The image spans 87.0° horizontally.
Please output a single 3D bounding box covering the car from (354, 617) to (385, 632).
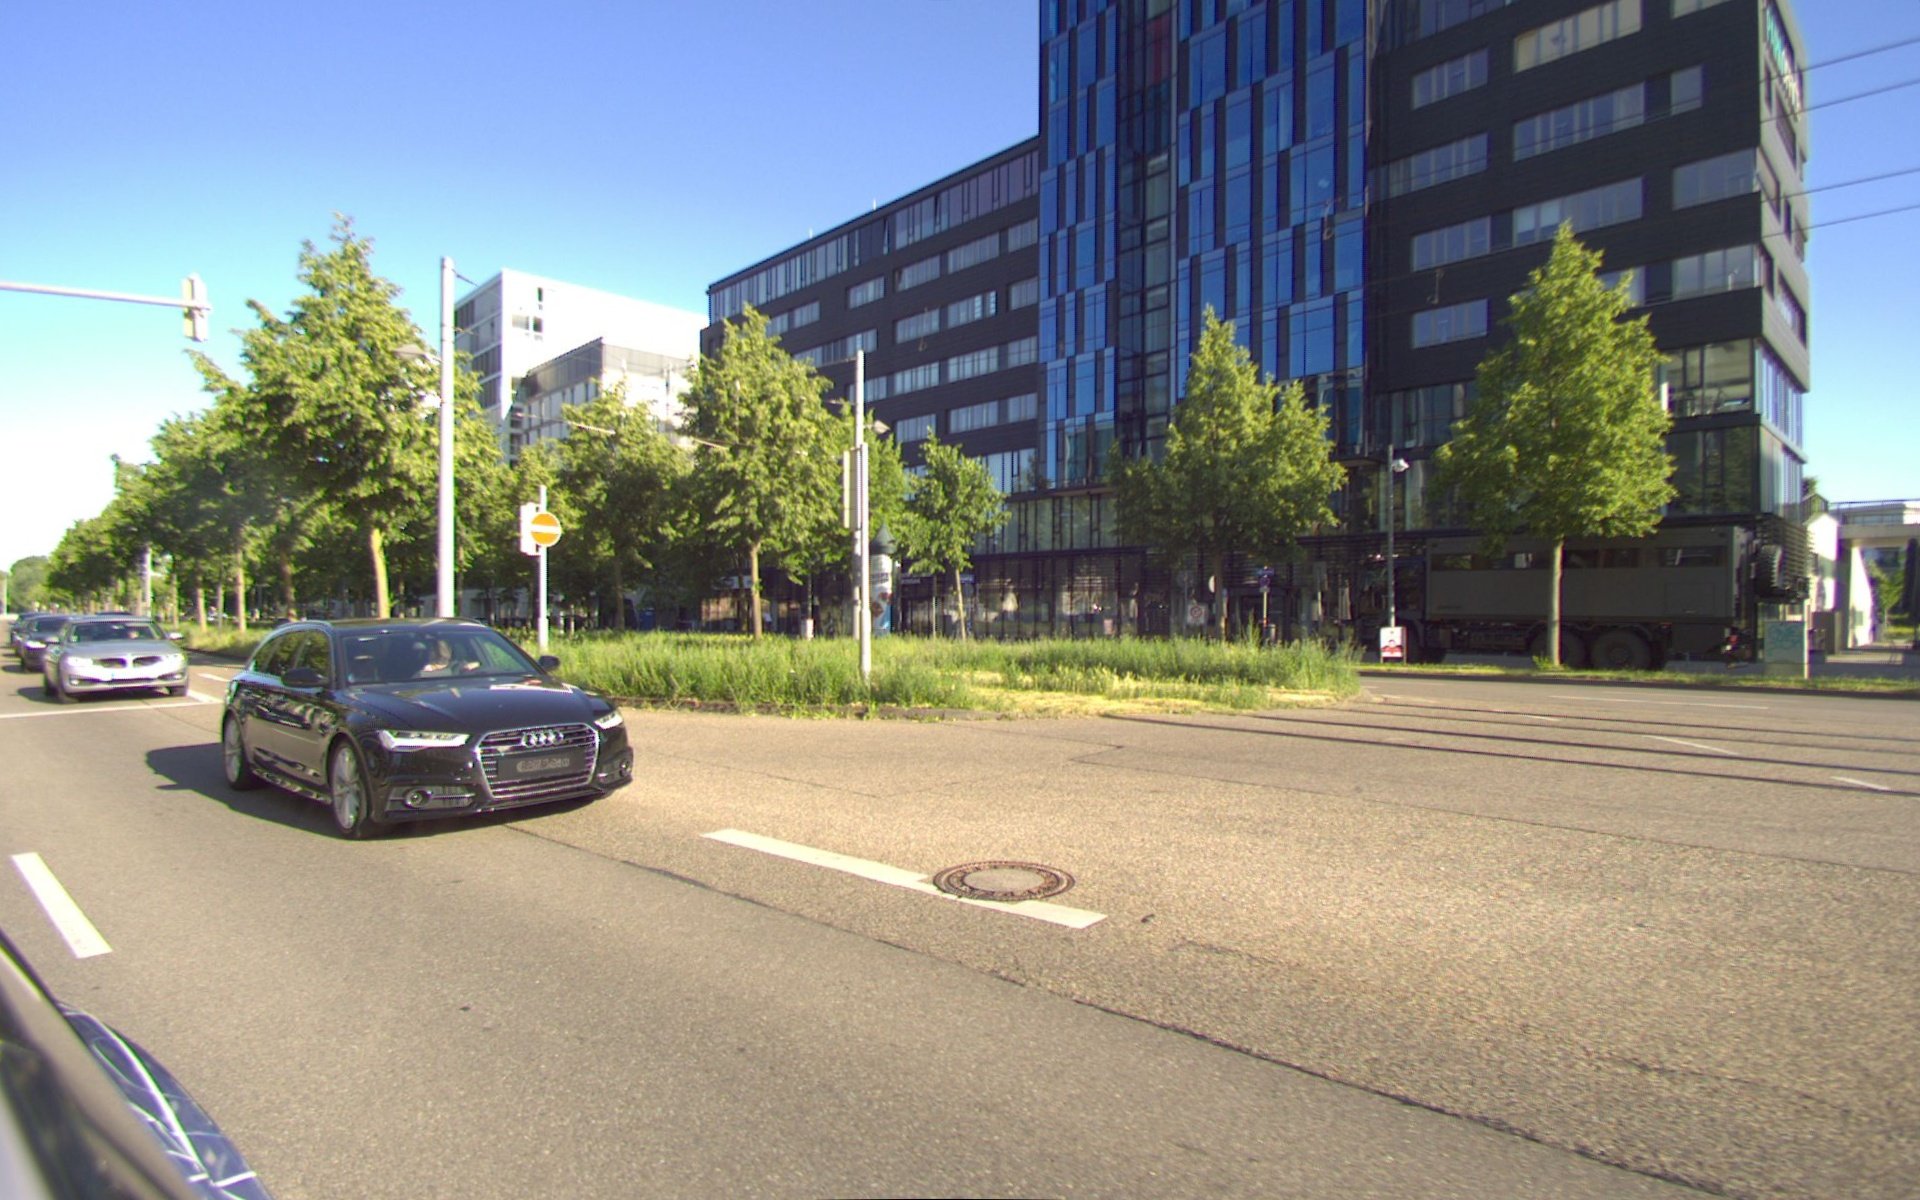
[{"bbox_3d":[-69.204,2.848,118.600,1.984,1.711,4.795,1,-1,-45],"label":"car"}]

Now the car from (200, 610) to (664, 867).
[{"bbox_3d":[-4.385,0.835,8.038,4.506,1.468,1.789,-1,-1,42],"label":"car"}]

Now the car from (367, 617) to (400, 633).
[{"bbox_3d":[-65.180,2.809,114.406,1.984,1.711,4.795,1,-1,-45],"label":"car"}]

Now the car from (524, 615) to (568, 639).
[{"bbox_3d":[-32.293,2.093,78.953,1.832,1.762,4.004,1,-1,-43],"label":"car"}]

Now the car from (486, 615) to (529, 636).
[{"bbox_3d":[-38.903,2.186,86.971,1.832,1.697,4.796,1,-1,-43],"label":"car"}]

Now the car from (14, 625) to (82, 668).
[{"bbox_3d":[-33.894,1.679,37.615,1.786,1.465,4.258,1,-1,-43],"label":"car"}]

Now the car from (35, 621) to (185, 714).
[{"bbox_3d":[-15.935,1.152,18.877,1.787,1.500,4.745,1,-1,-44],"label":"car"}]

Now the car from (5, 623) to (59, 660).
[{"bbox_3d":[-42.789,1.865,46.701,1.786,1.602,4.169,1,-1,-42],"label":"car"}]

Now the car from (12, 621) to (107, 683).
[{"bbox_3d":[-24.477,1.349,27.471,1.787,1.534,4.032,1,-1,-43],"label":"car"}]

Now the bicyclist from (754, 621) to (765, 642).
[{"bbox_3d":[-13.718,2.147,69.161,0.486,1.416,0.627,0,0,-44],"label":"bicyclist"}]

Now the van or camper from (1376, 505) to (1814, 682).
[{"bbox_3d":[17.495,-0.115,28.855,2.721,4.224,10.239,1,-1,-43],"label":"van or camper"}]

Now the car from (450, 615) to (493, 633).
[{"bbox_3d":[-45.666,2.219,94.534,4.792,1.711,1.985,-1,-1,43],"label":"car"}]

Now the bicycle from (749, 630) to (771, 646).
[{"bbox_3d":[-13.657,2.560,69.073,0.521,1.041,1.849,0,0,-43],"label":"bicycle"}]
